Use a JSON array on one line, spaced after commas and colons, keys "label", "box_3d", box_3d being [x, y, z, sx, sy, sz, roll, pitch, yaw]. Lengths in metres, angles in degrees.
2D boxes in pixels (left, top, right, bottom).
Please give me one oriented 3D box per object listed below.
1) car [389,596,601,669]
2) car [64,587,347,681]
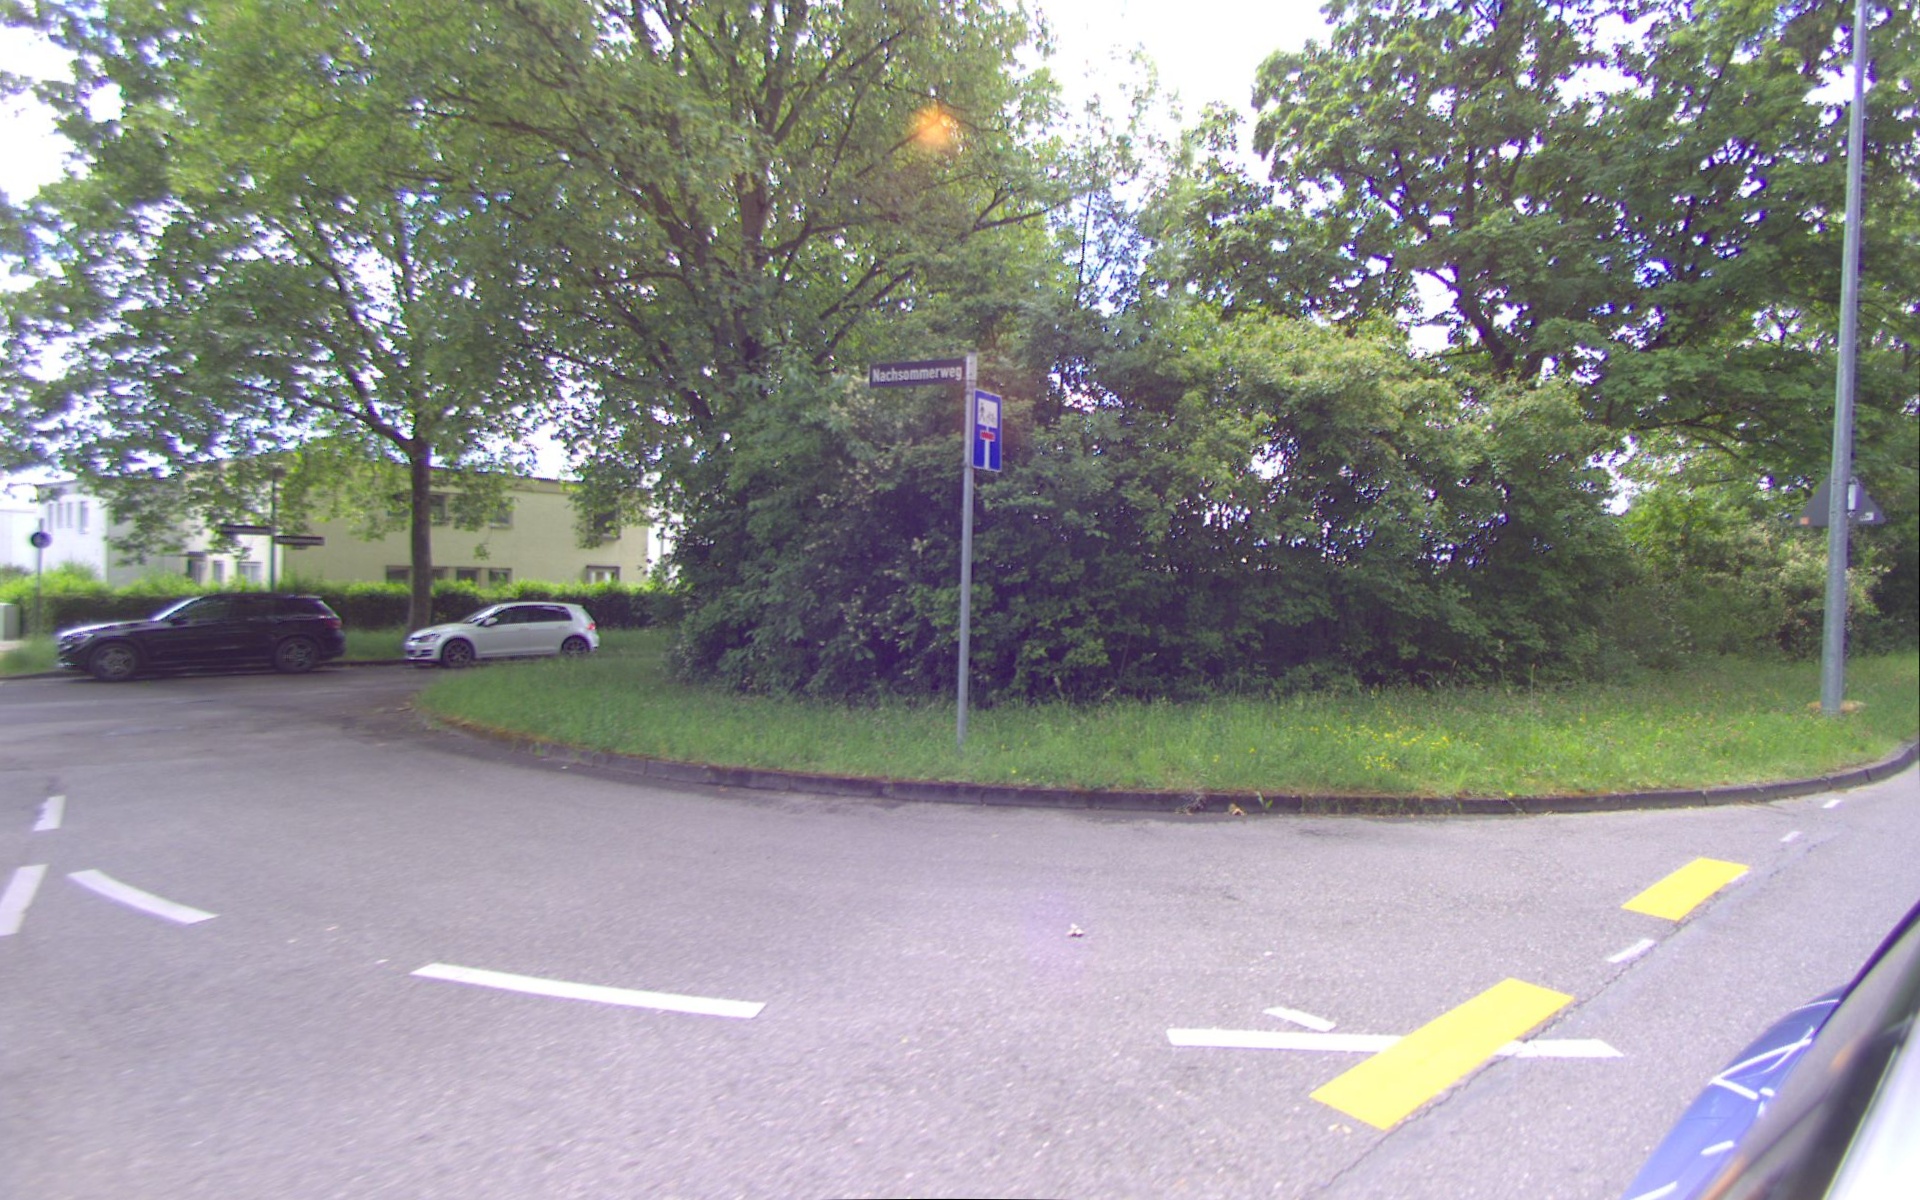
[{"label": "car", "box_3d": [-10.840, 0.700, 23.721, 4.169, 1.504, 1.826, 1, 1, -41]}, {"label": "car", "box_3d": [-14.954, 0.622, 20.239, 4.367, 1.638, 1.896, 1, 1, -41]}]
